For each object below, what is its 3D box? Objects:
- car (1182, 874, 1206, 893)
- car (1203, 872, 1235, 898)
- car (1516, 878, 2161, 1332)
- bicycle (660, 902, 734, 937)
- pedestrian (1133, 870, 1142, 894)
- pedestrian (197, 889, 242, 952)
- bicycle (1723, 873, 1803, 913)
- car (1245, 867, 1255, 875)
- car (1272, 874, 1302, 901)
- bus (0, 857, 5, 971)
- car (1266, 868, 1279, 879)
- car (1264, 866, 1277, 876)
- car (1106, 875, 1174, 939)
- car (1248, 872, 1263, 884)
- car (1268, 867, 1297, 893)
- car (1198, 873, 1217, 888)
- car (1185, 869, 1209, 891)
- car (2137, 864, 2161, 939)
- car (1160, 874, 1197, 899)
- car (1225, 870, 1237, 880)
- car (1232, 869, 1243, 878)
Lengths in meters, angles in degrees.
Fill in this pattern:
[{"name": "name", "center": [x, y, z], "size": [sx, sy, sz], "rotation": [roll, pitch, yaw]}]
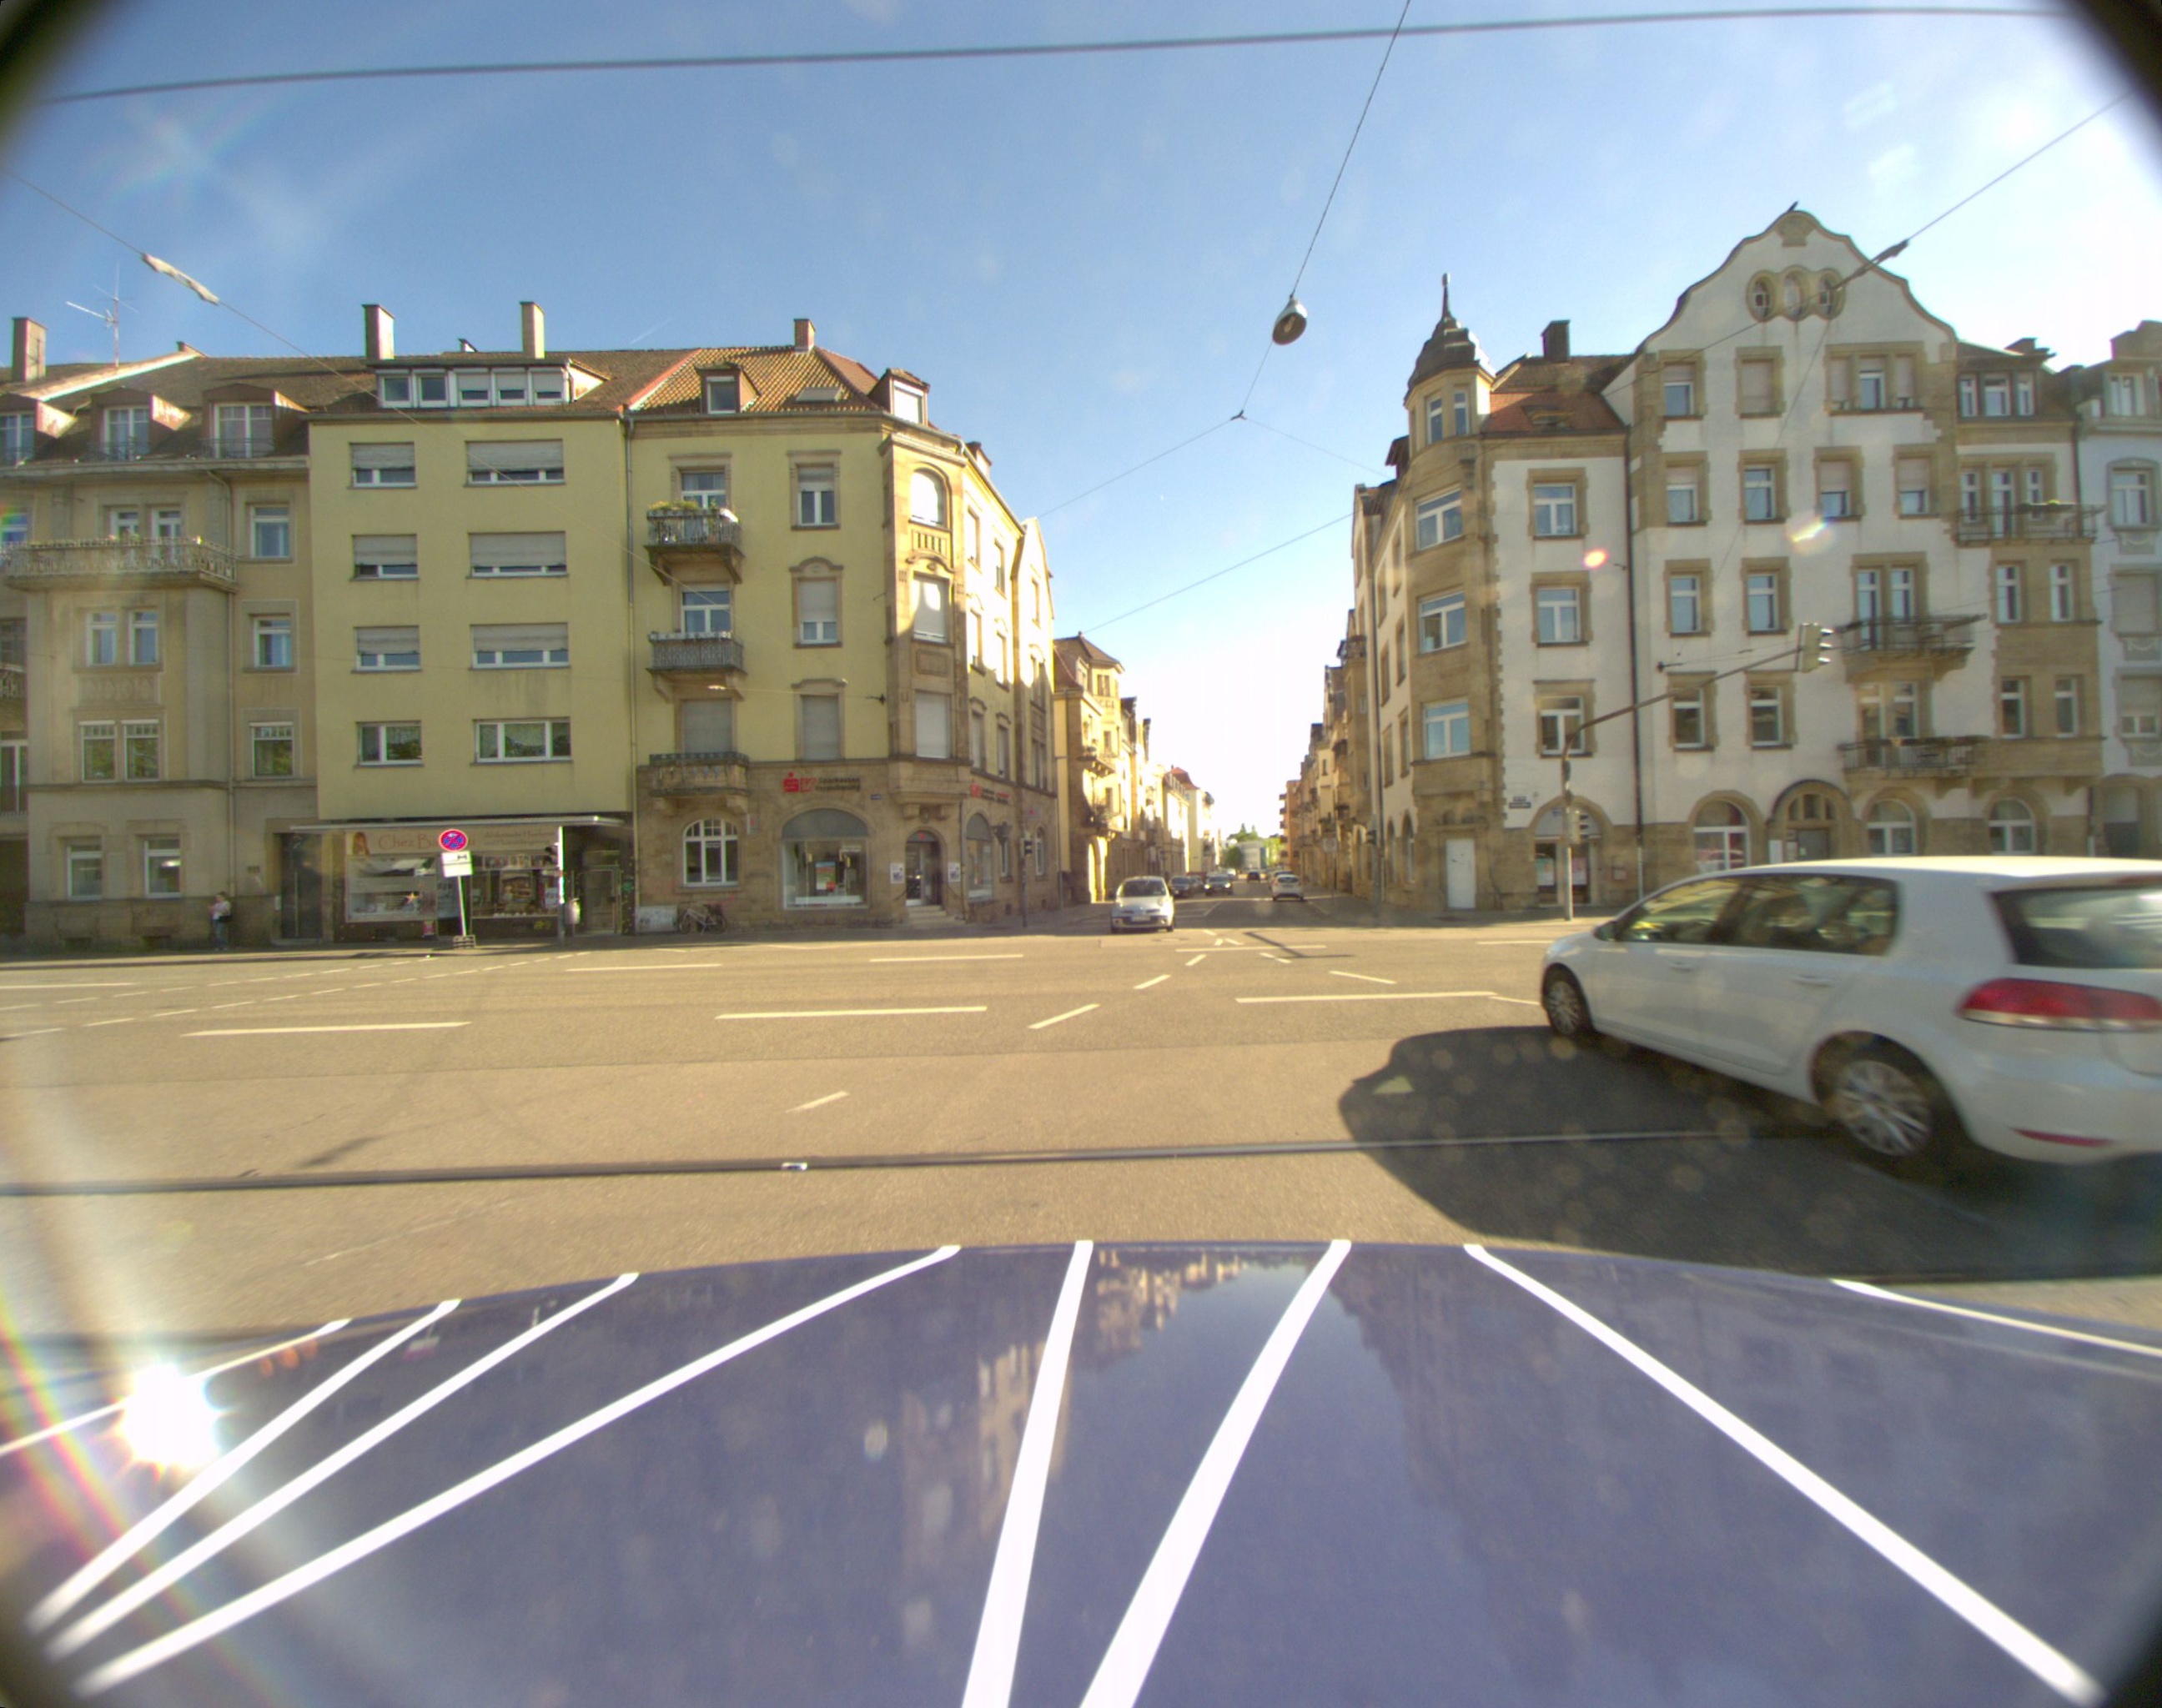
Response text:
[{"name": "car", "center": [10.264, 2.652, 68.864], "size": [1.832, 1.585, 3.824], "rotation": [-4, -2, 12]}, {"name": "car", "center": [10.051, 2.235, 55.140], "size": [1.875, 1.656, 4.005], "rotation": [-3, -1, 15]}, {"name": "car", "center": [4.550, 0.904, 4.504], "size": [1.810, 1.449, 4.002], "rotation": [-2, -1, 4]}, {"name": "bicycle", "center": [-11.654, 1.994, 23.112], "size": [1.951, 0.970, 0.516], "rotation": [-2, 2, 0]}, {"name": "pedestrian", "center": [4.078, 1.981, 54.801], "size": [0.577, 1.711, 0.698], "rotation": [-1, 0, 14]}, {"name": "pedestrian", "center": [-25.558, 1.959, 22.548], "size": [0.521, 1.792, 0.709], "rotation": [-2, -1, 4]}, {"name": "bicycle", "center": [20.353, 1.144, 22.697], "size": [1.809, 1.127, 0.610], "rotation": [-2, -1, 0]}, {"name": "car", "center": [38.407, 3.943, 172.475], "size": [1.875, 1.656, 4.005], "rotation": [-3, -1, 15]}, {"name": "car", "center": [11.622, 1.870, 42.743], "size": [1.554, 1.403, 3.576], "rotation": [0, -1, 16]}, {"name": "bus", "center": [-33.903, 1.662, 18.365], "size": [10.678, 3.015, 3.133], "rotation": [-1, -2, -3]}, {"name": "car", "center": [32.967, 3.342, 131.180], "size": [1.916, 1.614, 4.351], "rotation": [-5, -2, 13]}, {"name": "car", "center": [34.074, 3.009, 136.701], "size": [1.916, 1.614, 4.351], "rotation": [-5, -2, 13]}, {"name": "car", "center": [1.749, 1.434, 21.477], "size": [1.651, 1.559, 3.619], "rotation": [-2, -1, 8]}, {"name": "car", "center": [24.666, 3.350, 107.328], "size": [1.915, 1.717, 4.353], "rotation": [-1, -1, 16]}, {"name": "car", "center": [15.267, 1.947, 57.591], "size": [1.915, 1.649, 4.352], "rotation": [-5, -2, 15]}, {"name": "car", "center": [14.236, 2.944, 85.580], "size": [1.832, 1.585, 3.824], "rotation": [-4, -2, 12]}, {"name": "car", "center": [11.223, 2.498, 73.244], "size": [1.831, 2.022, 3.825], "rotation": [-4, -2, 14]}, {"name": "car", "center": [22.031, 0.818, 13.513], "size": [3.893, 1.380, 1.767], "rotation": [-2, -1, 1]}, {"name": "car", "center": [6.906, 2.271, 53.559], "size": [1.996, 1.527, 4.006], "rotation": [-4, -2, 15]}, {"name": "car", "center": [26.858, 3.795, 136.161], "size": [1.875, 1.656, 4.005], "rotation": [-3, -1, 15]}, {"name": "car", "center": [32.811, 4.044, 158.998], "size": [1.875, 1.656, 4.005], "rotation": [-3, -1, 15]}]
